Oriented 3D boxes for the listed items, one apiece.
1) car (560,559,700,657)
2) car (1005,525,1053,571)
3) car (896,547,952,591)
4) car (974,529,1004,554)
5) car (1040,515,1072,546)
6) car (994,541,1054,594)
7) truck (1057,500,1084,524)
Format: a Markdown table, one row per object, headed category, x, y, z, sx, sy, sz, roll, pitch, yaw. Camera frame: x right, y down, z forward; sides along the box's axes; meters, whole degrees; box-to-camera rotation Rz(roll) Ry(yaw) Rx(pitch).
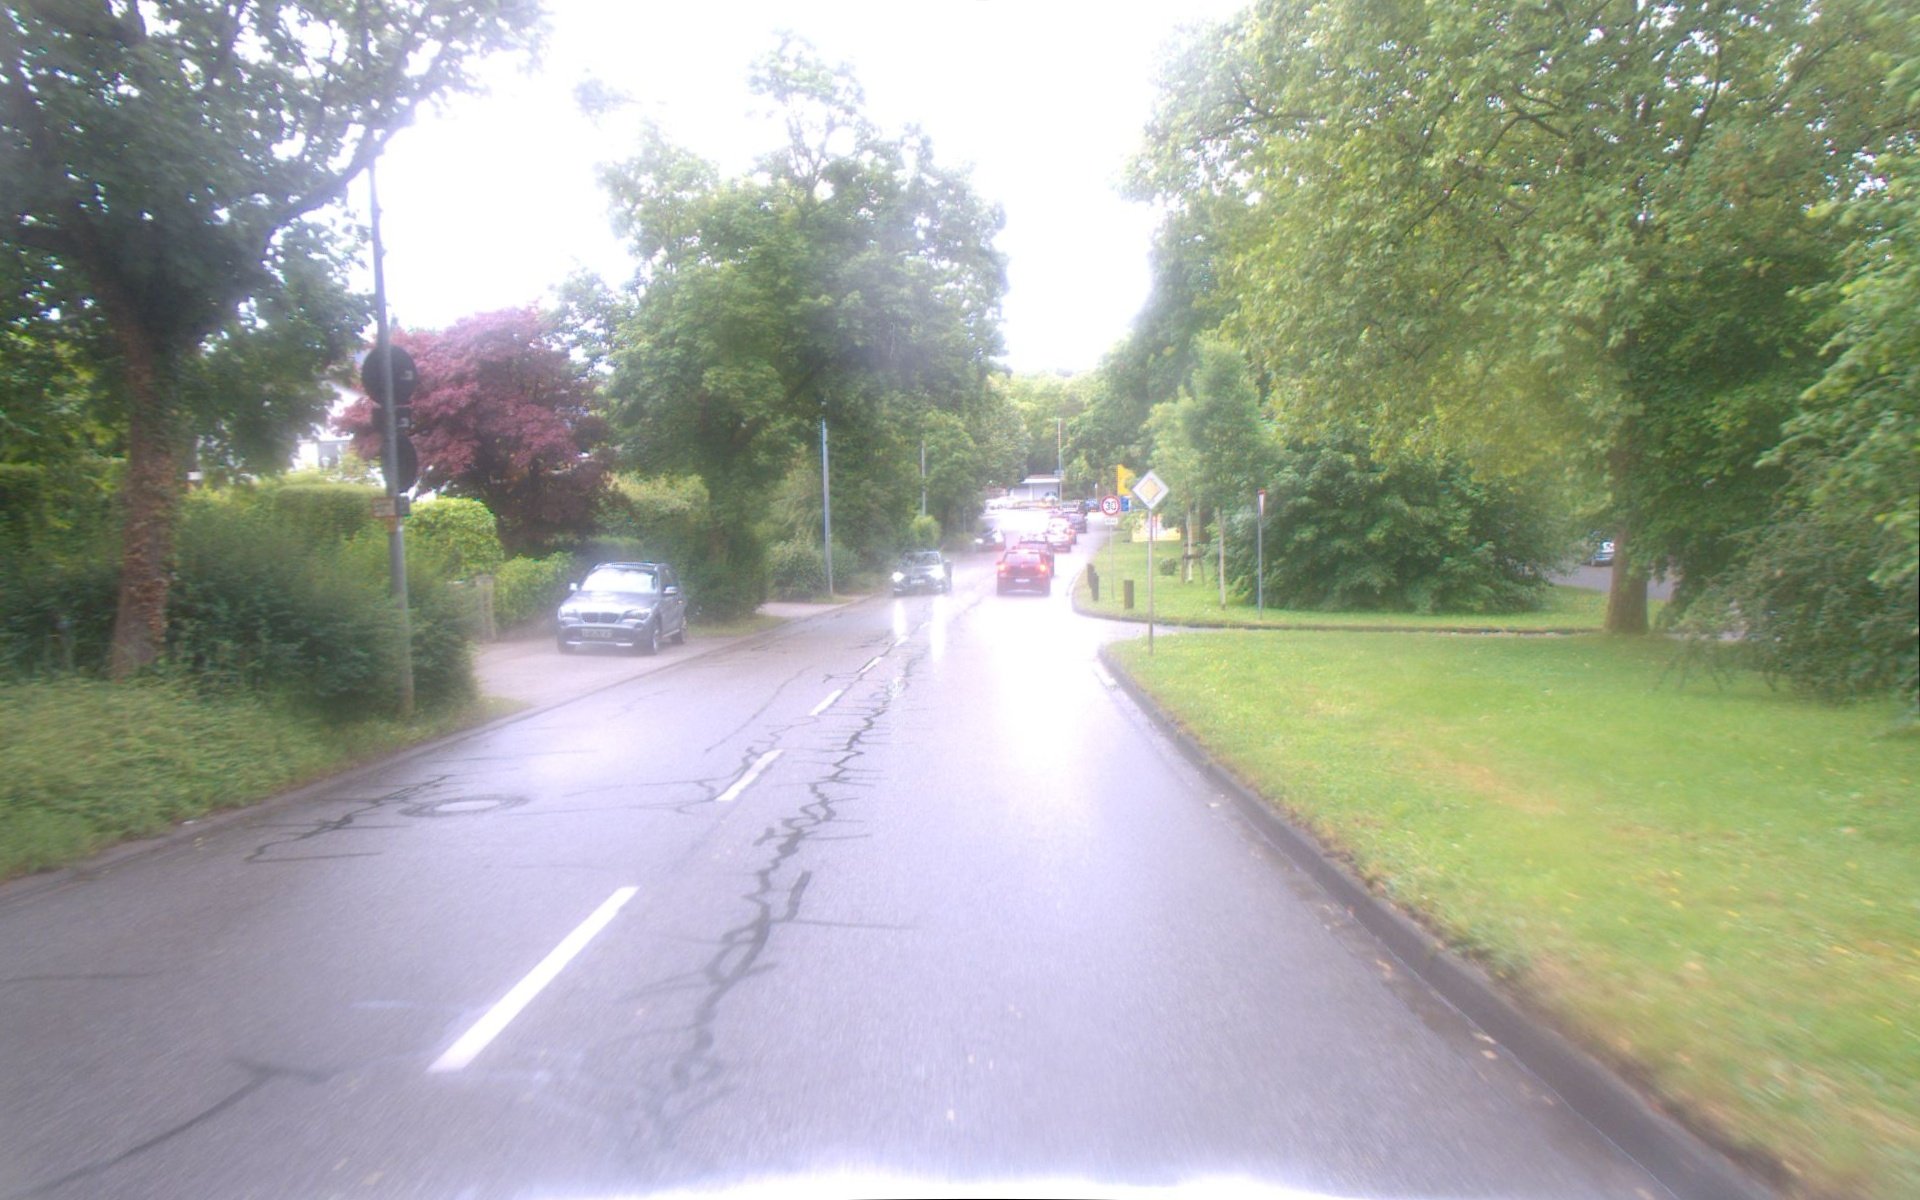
| category | x | y | z | sx | sy | sz | roll | pitch | yaw |
| --- | --- | --- | --- | --- | --- | --- | --- | --- | --- |
| car | -5.982 | 0.080 | 30.426 | 1.629 | 1.568 | 4.285 | 2 | 2 | 1 |
| car | 3.048 | -2.287 | 72.283 | 1.816 | 1.815 | 4.005 | -2 | 4 | 6 |
| car | -1.217 | -1.093 | 57.955 | 1.654 | 1.420 | 4.493 | -3 | 1 | 2 |
| car | 1.932 | -3.843 | 108.390 | 1.718 | 1.386 | 4.329 | -3 | 3 | 3 |
| car | 6.118 | -4.468 | 105.318 | 1.816 | 1.815 | 4.005 | -2 | 4 | 6 |
| car | 2.150 | -1.120 | 55.121 | 1.761 | 1.541 | 3.758 | 1 | 4 | 5 |
| truck | 10.168 | -8.102 | 152.502 | 2.366 | 2.038 | 5.156 | -2 | 4 | 4 |
